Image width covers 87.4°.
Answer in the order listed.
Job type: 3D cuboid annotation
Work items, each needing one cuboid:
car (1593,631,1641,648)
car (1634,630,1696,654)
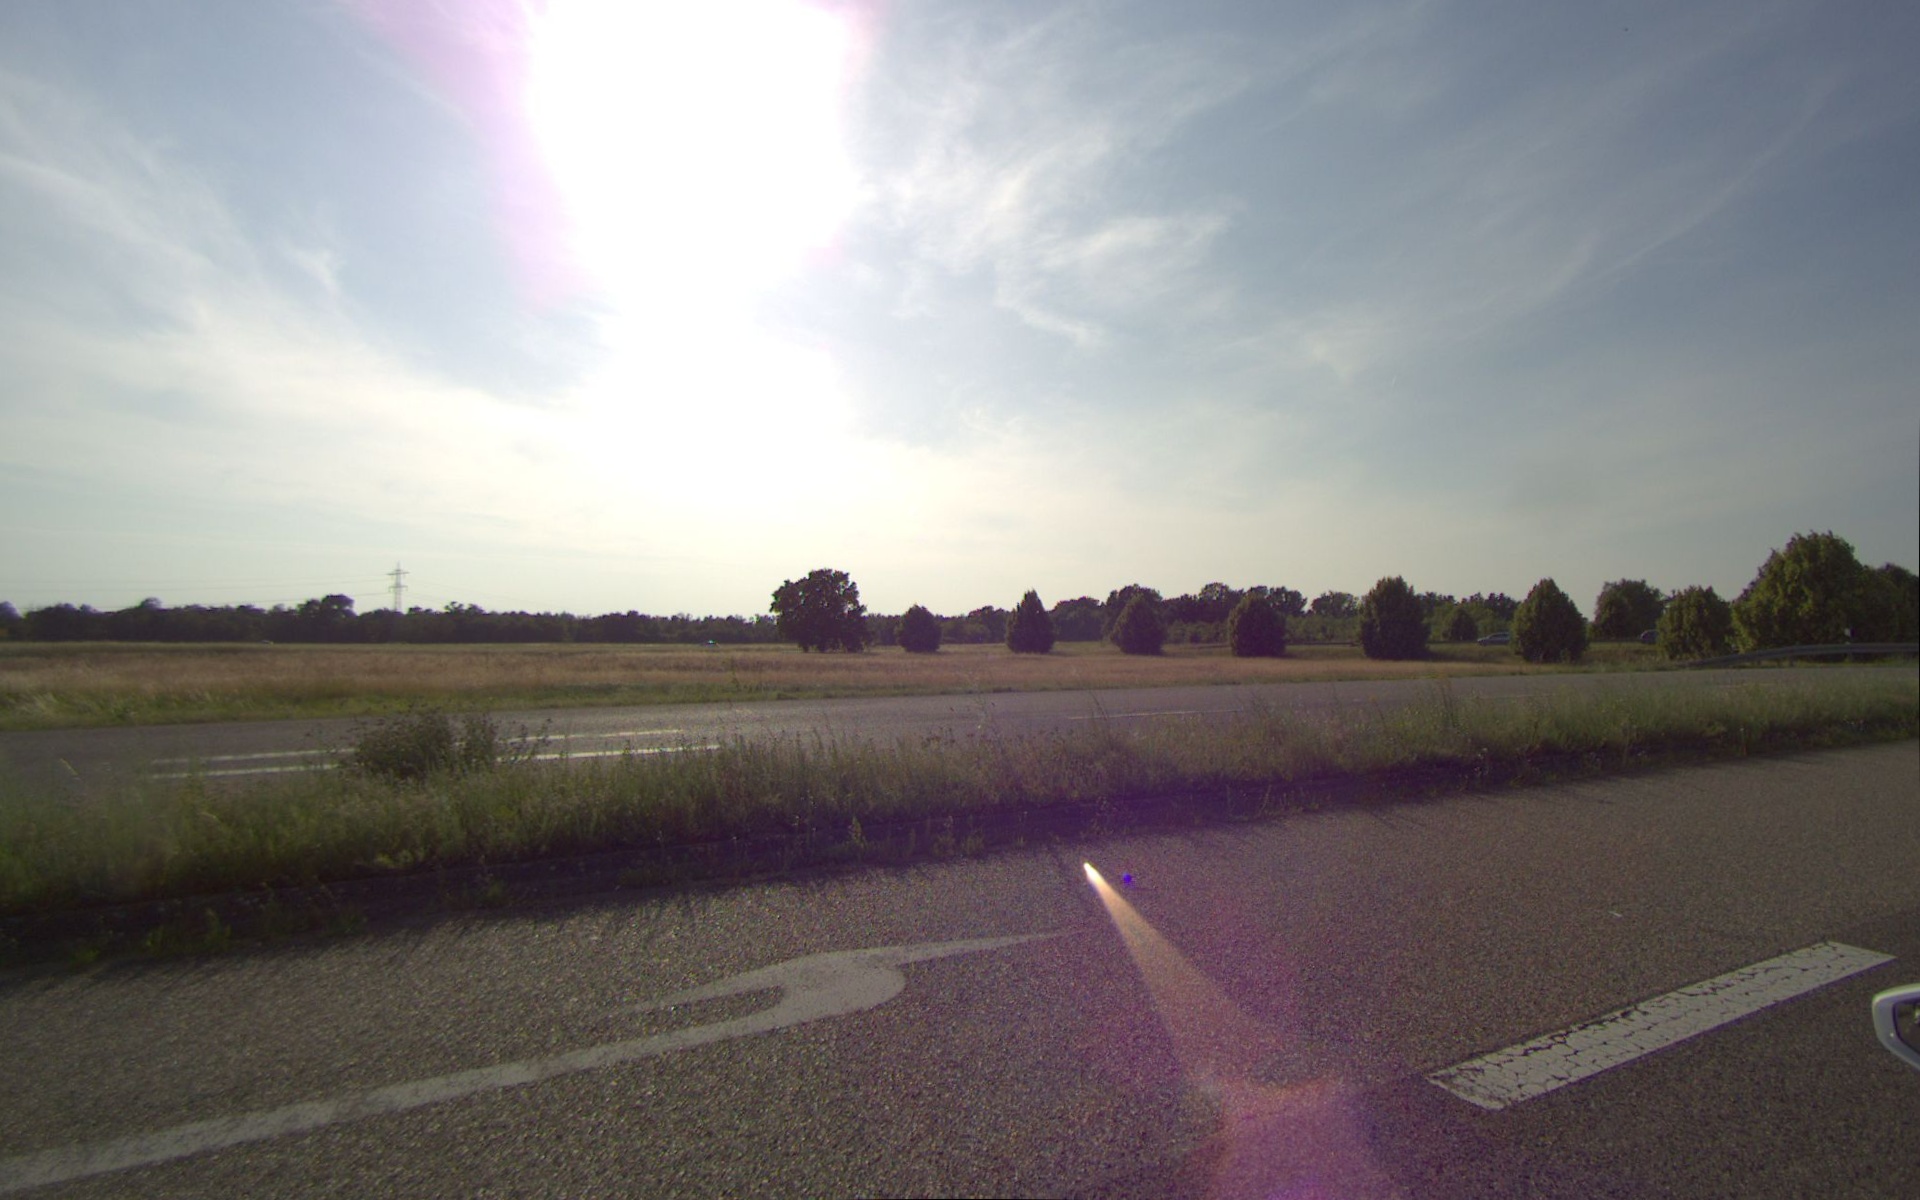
[{"bbox_3d":[71.627,4.315,109.541,1.978,1.689,3.965,2,-1,-31],"label":"car"},{"bbox_3d":[67.368,3.997,96.052,1.982,2.040,4.425,2,-1,-37],"label":"car"}]
